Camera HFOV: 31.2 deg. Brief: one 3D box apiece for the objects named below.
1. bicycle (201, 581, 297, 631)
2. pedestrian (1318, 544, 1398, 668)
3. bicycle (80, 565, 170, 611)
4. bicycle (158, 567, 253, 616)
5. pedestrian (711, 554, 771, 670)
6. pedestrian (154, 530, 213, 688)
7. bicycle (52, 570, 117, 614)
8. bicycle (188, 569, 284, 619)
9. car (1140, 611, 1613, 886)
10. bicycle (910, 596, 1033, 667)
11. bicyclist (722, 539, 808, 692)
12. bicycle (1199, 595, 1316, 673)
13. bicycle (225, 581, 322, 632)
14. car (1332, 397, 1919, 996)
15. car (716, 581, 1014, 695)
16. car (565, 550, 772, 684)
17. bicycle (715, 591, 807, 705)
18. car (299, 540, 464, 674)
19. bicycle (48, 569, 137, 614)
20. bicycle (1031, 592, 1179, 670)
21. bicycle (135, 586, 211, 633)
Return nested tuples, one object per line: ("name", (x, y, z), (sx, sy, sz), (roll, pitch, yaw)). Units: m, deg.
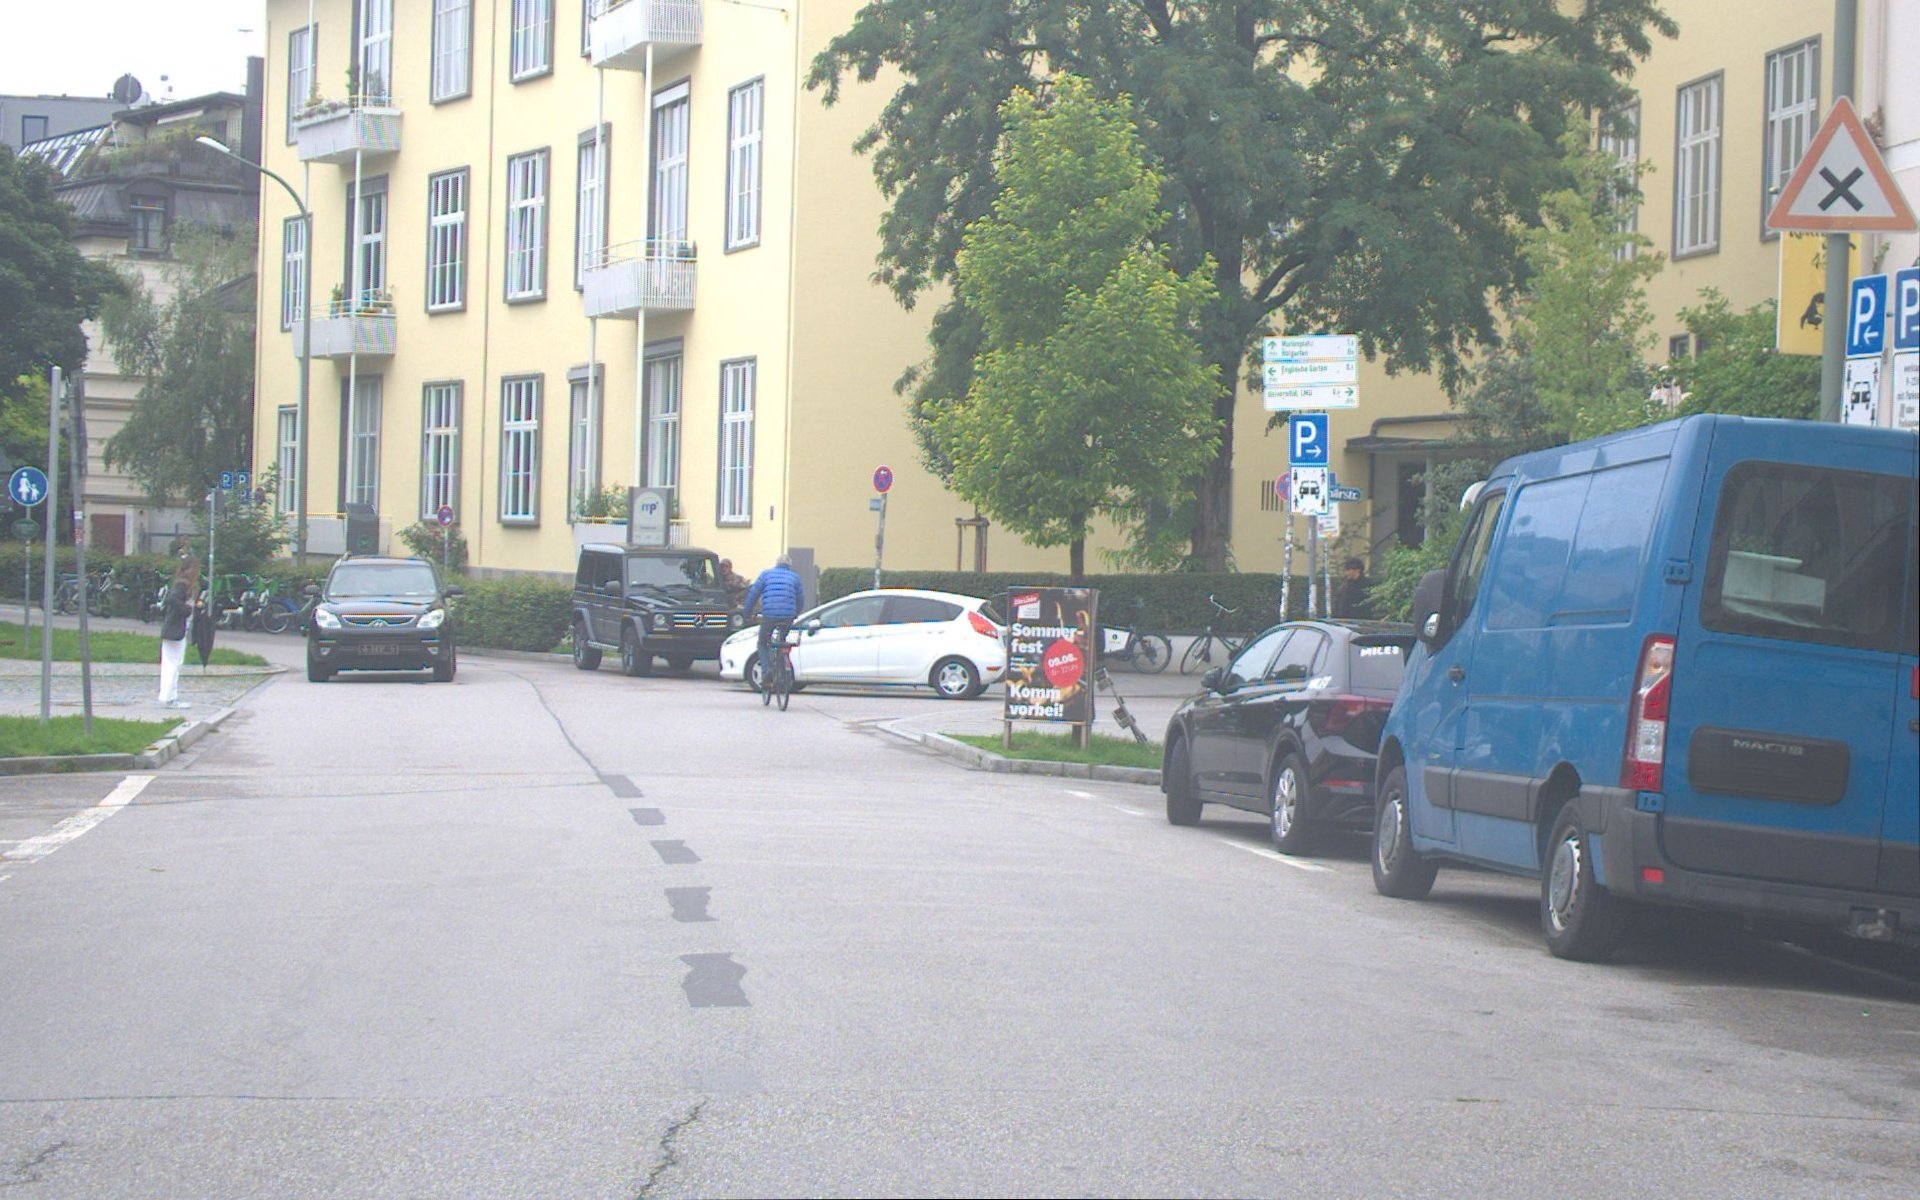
("bicycle", (-15.126, 0.126, 73.151), (0.619, 1.025, 1.972), (2, 0, 45))
("pedestrian", (5.863, 0.087, 50.673), (0.989, 1.803, 0.660), (1, 1, -8))
("bicycle", (-19.407, -0.279, 79.926), (0.619, 1.025, 1.972), (2, 0, 45))
("bicycle", (-16.432, -0.186, 74.932), (0.619, 1.025, 1.972), (2, 0, 45))
("pedestrian", (-3.360, 0.176, 52.682), (0.848, 1.751, 0.954), (1, 1, -6))
("pedestrian", (-8.440, 0.087, 37.351), (0.542, 1.691, 0.667), (-1, 1, -19))
("bicycle", (-20.750, -0.194, 81.480), (0.409, 1.011, 1.534), (2, 2, 42))
("bicycle", (-15.591, -0.127, 74.060), (0.619, 1.025, 1.972), (2, 0, 45))
("car", (2.520, 0.870, 21.817), (1.714, 1.390, 4.001), (5, 0, -11))
("bicycle", (0.170, 0.491, 53.302), (1.947, 1.081, 0.528), (0, -1, 35))
("bicyclist", (-2.292, 0.167, 40.574), (0.914, 1.758, 1.215), (1, 1, 0))
("bicycle", (4.514, 0.515, 52.127), (1.681, 1.126, 0.460), (1, 1, -9))
("bicycle", (-14.495, 0.144, 72.605), (0.619, 1.025, 1.972), (2, 0, 45))
("car", (3.389, 0.460, 15.872), (2.109, 2.206, 5.029), (6, -2, -6))
("car", (-1.252, 0.493, 46.273), (3.716, 1.401, 1.752), (1, 1, 9))
("car", (-4.518, 0.226, 52.655), (1.873, 1.881, 4.620), (1, 1, -21))
("bicycle", (-2.329, 0.548, 40.531), (0.921, 1.248, 2.322), (1, 1, 0))
("car", (-8.087, 0.053, 47.786), (1.993, 1.713, 4.616), (1, 1, -12))
("bicycle", (-20.586, -0.193, 81.597), (0.619, 1.025, 1.972), (2, 0, 45))
("bicycle", (2.210, 0.469, 52.310), (2.168, 1.112, 0.640), (1, 1, 9))
("bicycle", (-17.484, 0.210, 76.450), (0.532, 1.025, 1.975), (2, 0, 24))
